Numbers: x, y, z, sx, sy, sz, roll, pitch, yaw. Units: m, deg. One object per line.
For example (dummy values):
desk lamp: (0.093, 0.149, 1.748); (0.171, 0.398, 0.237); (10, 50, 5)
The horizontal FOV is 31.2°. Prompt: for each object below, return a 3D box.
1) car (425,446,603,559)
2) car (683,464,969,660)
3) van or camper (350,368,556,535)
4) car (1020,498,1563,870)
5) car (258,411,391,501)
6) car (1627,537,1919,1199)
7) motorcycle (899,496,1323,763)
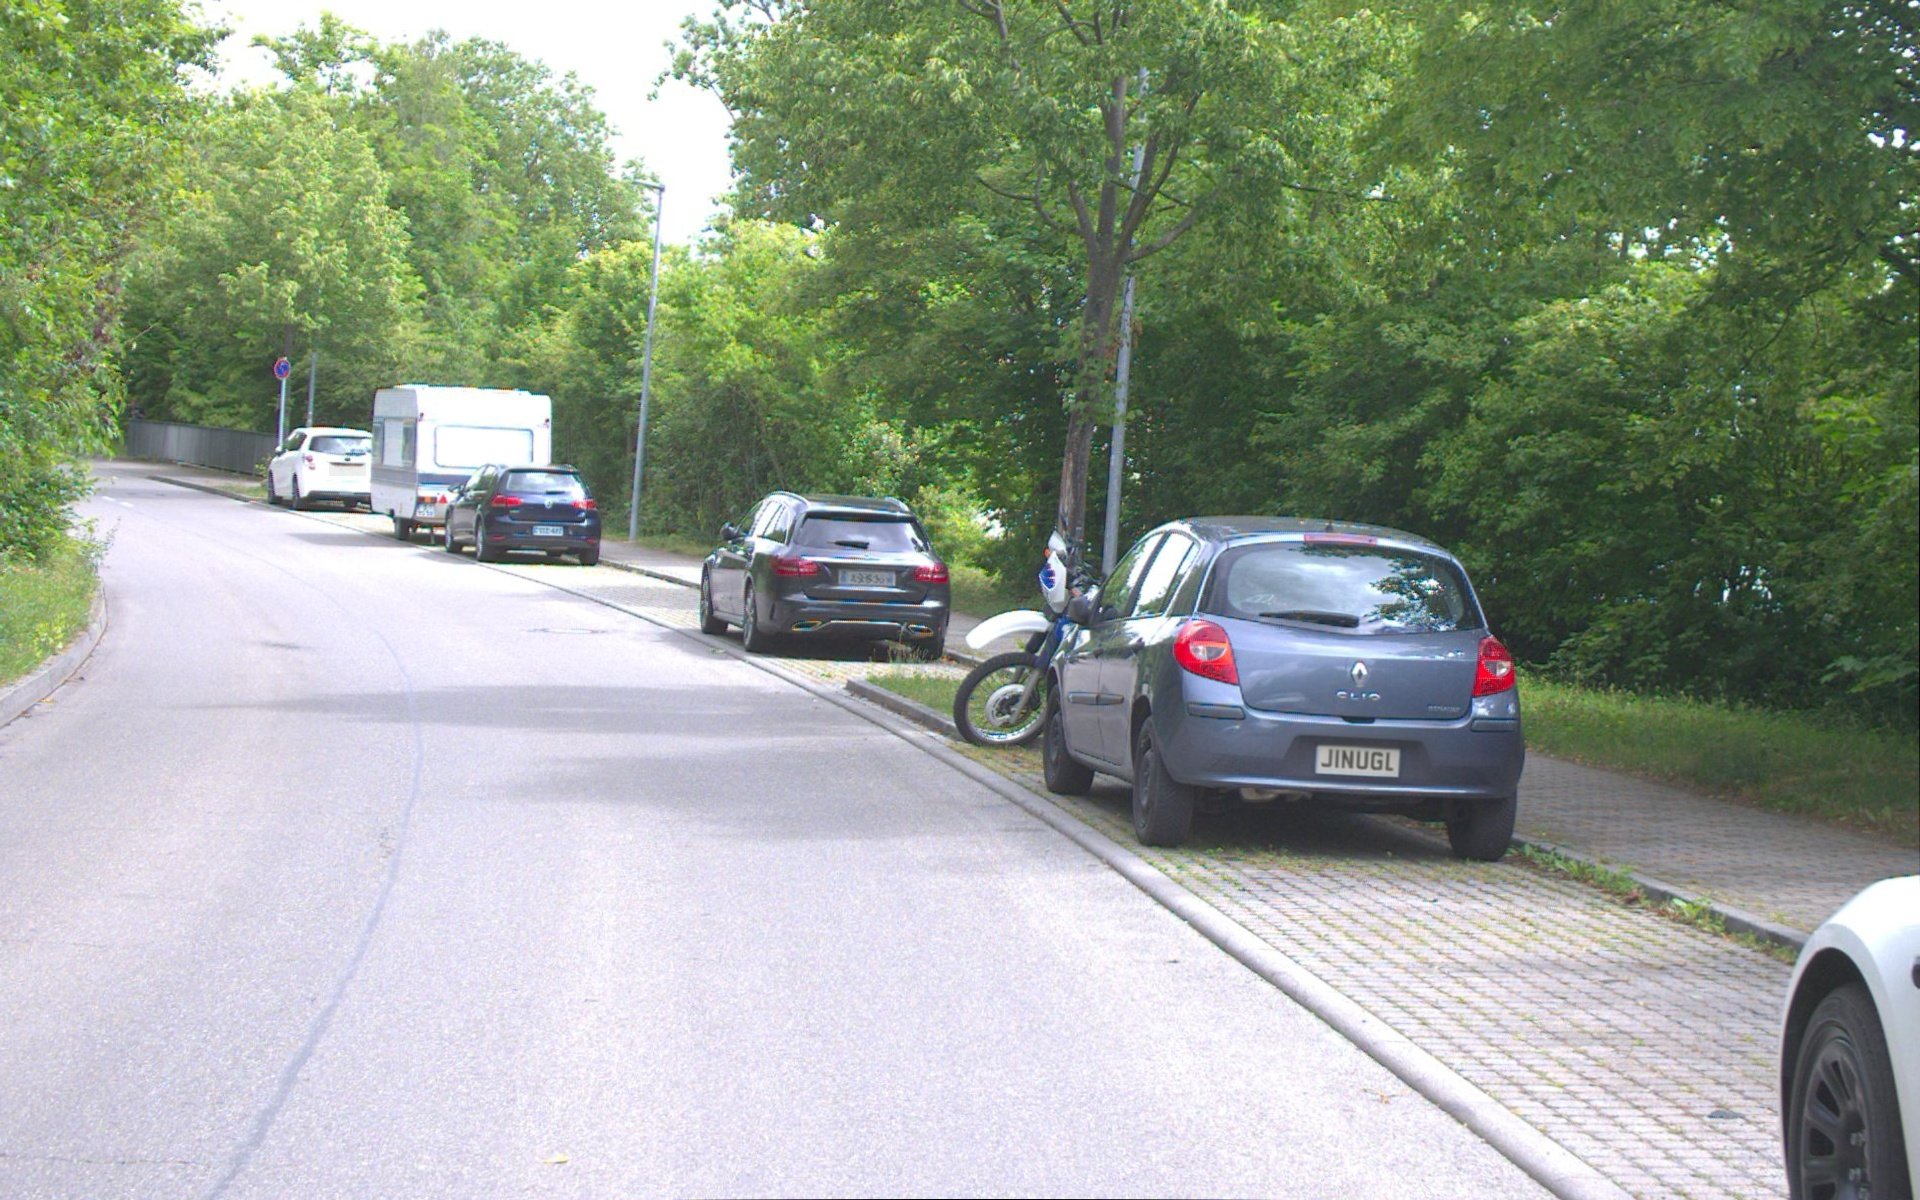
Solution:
car: (-6.693, -1.484, 51.232); (1.681, 1.446, 4.482); (3, 2, -19)
car: (-1.343, -0.414, 32.267); (1.892, 1.524, 4.548); (3, 3, -11)
van or camper: (-8.402, -2.479, 56.538); (2.354, 2.545, 5.077); (2, 3, -19)
car: (1.455, 0.315, 16.700); (1.769, 1.512, 4.108); (3, 1, -6)
car: (-12.720, -2.902, 68.621); (1.804, 1.594, 4.374); (2, 3, -21)
car: (2.569, 0.701, 4.969); (1.862, 1.472, 4.903); (1, 2, -5)
motorcycle: (0.903, 0.149, 20.414); (2.307, 1.470, 0.974); (2, 2, 18)
